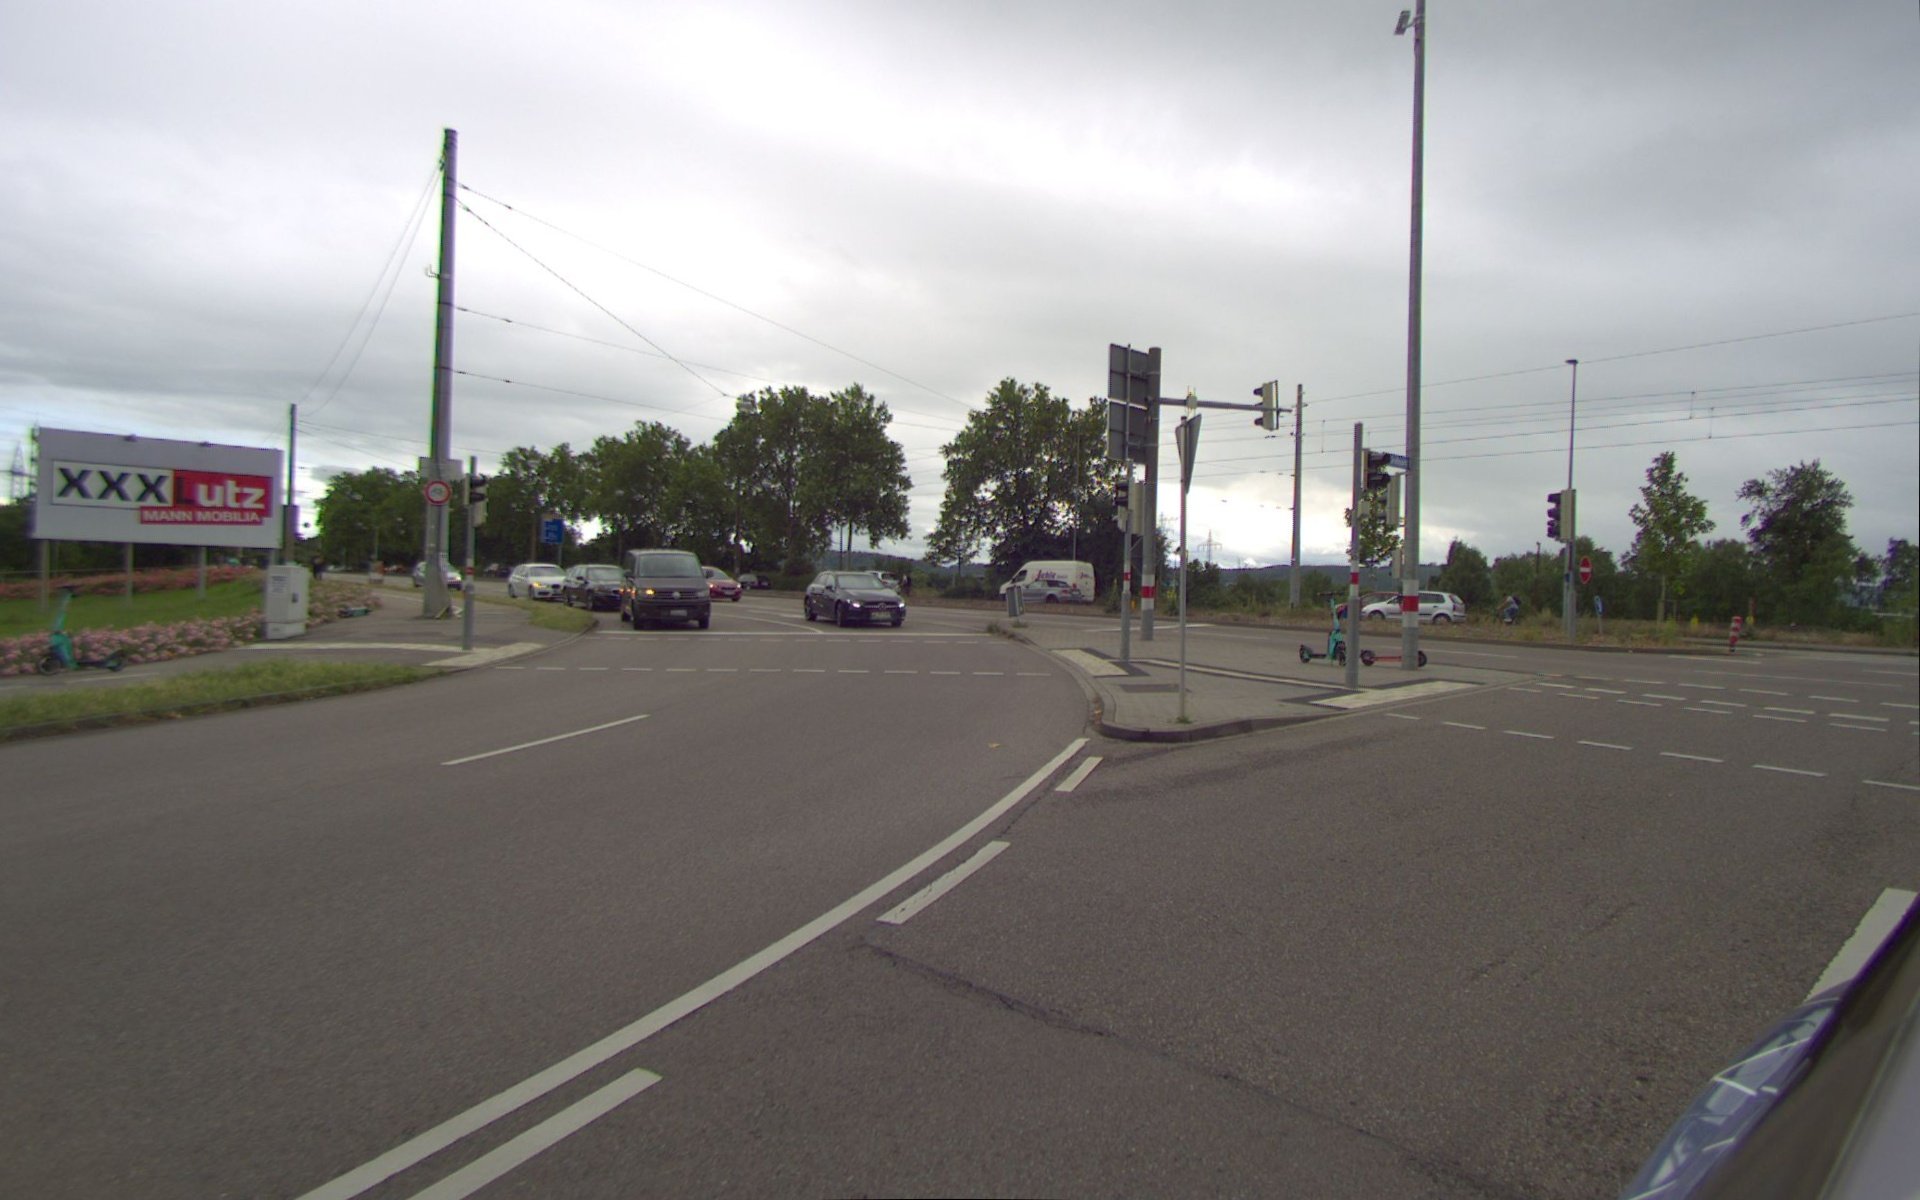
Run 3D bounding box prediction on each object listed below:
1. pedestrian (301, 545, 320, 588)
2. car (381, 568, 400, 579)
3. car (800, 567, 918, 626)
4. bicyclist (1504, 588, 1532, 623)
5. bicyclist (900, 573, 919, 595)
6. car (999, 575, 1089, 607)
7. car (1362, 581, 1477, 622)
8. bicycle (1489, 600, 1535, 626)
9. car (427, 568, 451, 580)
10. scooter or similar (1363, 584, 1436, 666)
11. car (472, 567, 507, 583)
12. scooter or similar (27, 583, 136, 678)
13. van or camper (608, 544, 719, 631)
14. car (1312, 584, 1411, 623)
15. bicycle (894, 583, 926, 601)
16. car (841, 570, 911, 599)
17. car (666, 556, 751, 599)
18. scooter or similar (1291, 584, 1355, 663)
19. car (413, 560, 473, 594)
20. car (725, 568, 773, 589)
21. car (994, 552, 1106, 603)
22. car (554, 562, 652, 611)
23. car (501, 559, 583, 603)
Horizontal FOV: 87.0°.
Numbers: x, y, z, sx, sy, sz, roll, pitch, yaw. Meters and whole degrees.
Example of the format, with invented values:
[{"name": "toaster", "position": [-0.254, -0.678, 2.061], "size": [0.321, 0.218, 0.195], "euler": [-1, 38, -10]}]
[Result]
[{"name": "pedestrian", "position": [-28.345, -1.457, 44.174], "size": [0.537, 1.804, 0.633], "euler": [3, -2, -43]}, {"name": "car", "position": [-86.707, -4.017, 154.113], "size": [1.723, 1.449, 3.367], "euler": [3, 0, -44]}, {"name": "car", "position": [-2.855, -0.128, 27.724], "size": [1.800, 1.482, 4.214], "euler": [0, 1, -27]}, {"name": "bicyclist", "position": [24.517, 0.236, 44.468], "size": [0.963, 1.470, 0.682], "euler": [3, 3, 40]}, {"name": "bicyclist", "position": [-3.506, -1.111, 70.354], "size": [0.805, 1.497, 0.998], "euler": [0, 3, -43]}, {"name": "car", "position": [4.272, -0.471, 51.833], "size": [4.329, 1.408, 1.847], "euler": [3, 0, 43]}, {"name": "car", "position": [18.024, 0.041, 39.775], "size": [3.832, 1.437, 1.659], "euler": [2, 0, 40]}, {"name": "bicycle", "position": [24.356, 0.557, 44.676], "size": [1.701, 1.058, 0.541], "euler": [3, 4, 40]}, {"name": "car", "position": [-70.282, -3.529, 136.524], "size": [1.790, 1.499, 3.662], "euler": [3, -1, -44]}, {"name": "scooter or similar", "position": [7.184, 0.383, 16.581], "size": [0.455, 1.271, 1.020], "euler": [-1, 2, -27]}, {"name": "car", "position": [-51.346, -2.700, 110.397], "size": [4.299, 1.657, 1.810], "euler": [2, 0, 41]}, {"name": "scooter or similar", "position": [-12.086, 0.401, 13.960], "size": [0.341, 1.248, 1.161], "euler": [-1, 0, 11]}, {"name": "van or camper", "position": [-7.821, -0.420, 26.385], "size": [2.080, 2.038, 4.763], "euler": [-2, 3, -24]}, {"name": "car", "position": [17.708, 0.142, 44.647], "size": [3.750, 1.581, 1.634], "euler": [2, 0, 37]}, {"name": "bicycle", "position": [-3.499, -0.566, 70.395], "size": [0.805, 1.199, 2.518], "euler": [0, 3, -43]}, {"name": "car", "position": [-4.956, -0.899, 59.582], "size": [1.830, 1.572, 4.191], "euler": [2, 0, -44]}, {"name": "car", "position": [-10.844, -0.951, 43.432], "size": [1.965, 1.749, 3.994], "euler": [0, 1, -41]}, {"name": "scooter or similar", "position": [6.143, 0.375, 17.179], "size": [0.314, 1.271, 1.117], "euler": [-1, 2, -27]}, {"name": "car", "position": [-26.660, -1.152, 52.140], "size": [1.717, 1.622, 4.067], "euler": [3, -1, -42]}, {"name": "car", "position": [-16.490, -1.671, 79.009], "size": [1.710, 1.498, 4.311], "euler": [3, -1, -42]}, {"name": "car", "position": [5.041, -1.277, 57.268], "size": [5.878, 2.659, 2.623], "euler": [2, 0, 43]}, {"name": "car", "position": [-11.705, -0.483, 33.023], "size": [1.931, 1.482, 4.323], "euler": [1, 2, -35]}, {"name": "car", "position": [-16.107, -0.730, 38.881], "size": [1.702, 1.558, 4.041], "euler": [3, 0, -40]}]
